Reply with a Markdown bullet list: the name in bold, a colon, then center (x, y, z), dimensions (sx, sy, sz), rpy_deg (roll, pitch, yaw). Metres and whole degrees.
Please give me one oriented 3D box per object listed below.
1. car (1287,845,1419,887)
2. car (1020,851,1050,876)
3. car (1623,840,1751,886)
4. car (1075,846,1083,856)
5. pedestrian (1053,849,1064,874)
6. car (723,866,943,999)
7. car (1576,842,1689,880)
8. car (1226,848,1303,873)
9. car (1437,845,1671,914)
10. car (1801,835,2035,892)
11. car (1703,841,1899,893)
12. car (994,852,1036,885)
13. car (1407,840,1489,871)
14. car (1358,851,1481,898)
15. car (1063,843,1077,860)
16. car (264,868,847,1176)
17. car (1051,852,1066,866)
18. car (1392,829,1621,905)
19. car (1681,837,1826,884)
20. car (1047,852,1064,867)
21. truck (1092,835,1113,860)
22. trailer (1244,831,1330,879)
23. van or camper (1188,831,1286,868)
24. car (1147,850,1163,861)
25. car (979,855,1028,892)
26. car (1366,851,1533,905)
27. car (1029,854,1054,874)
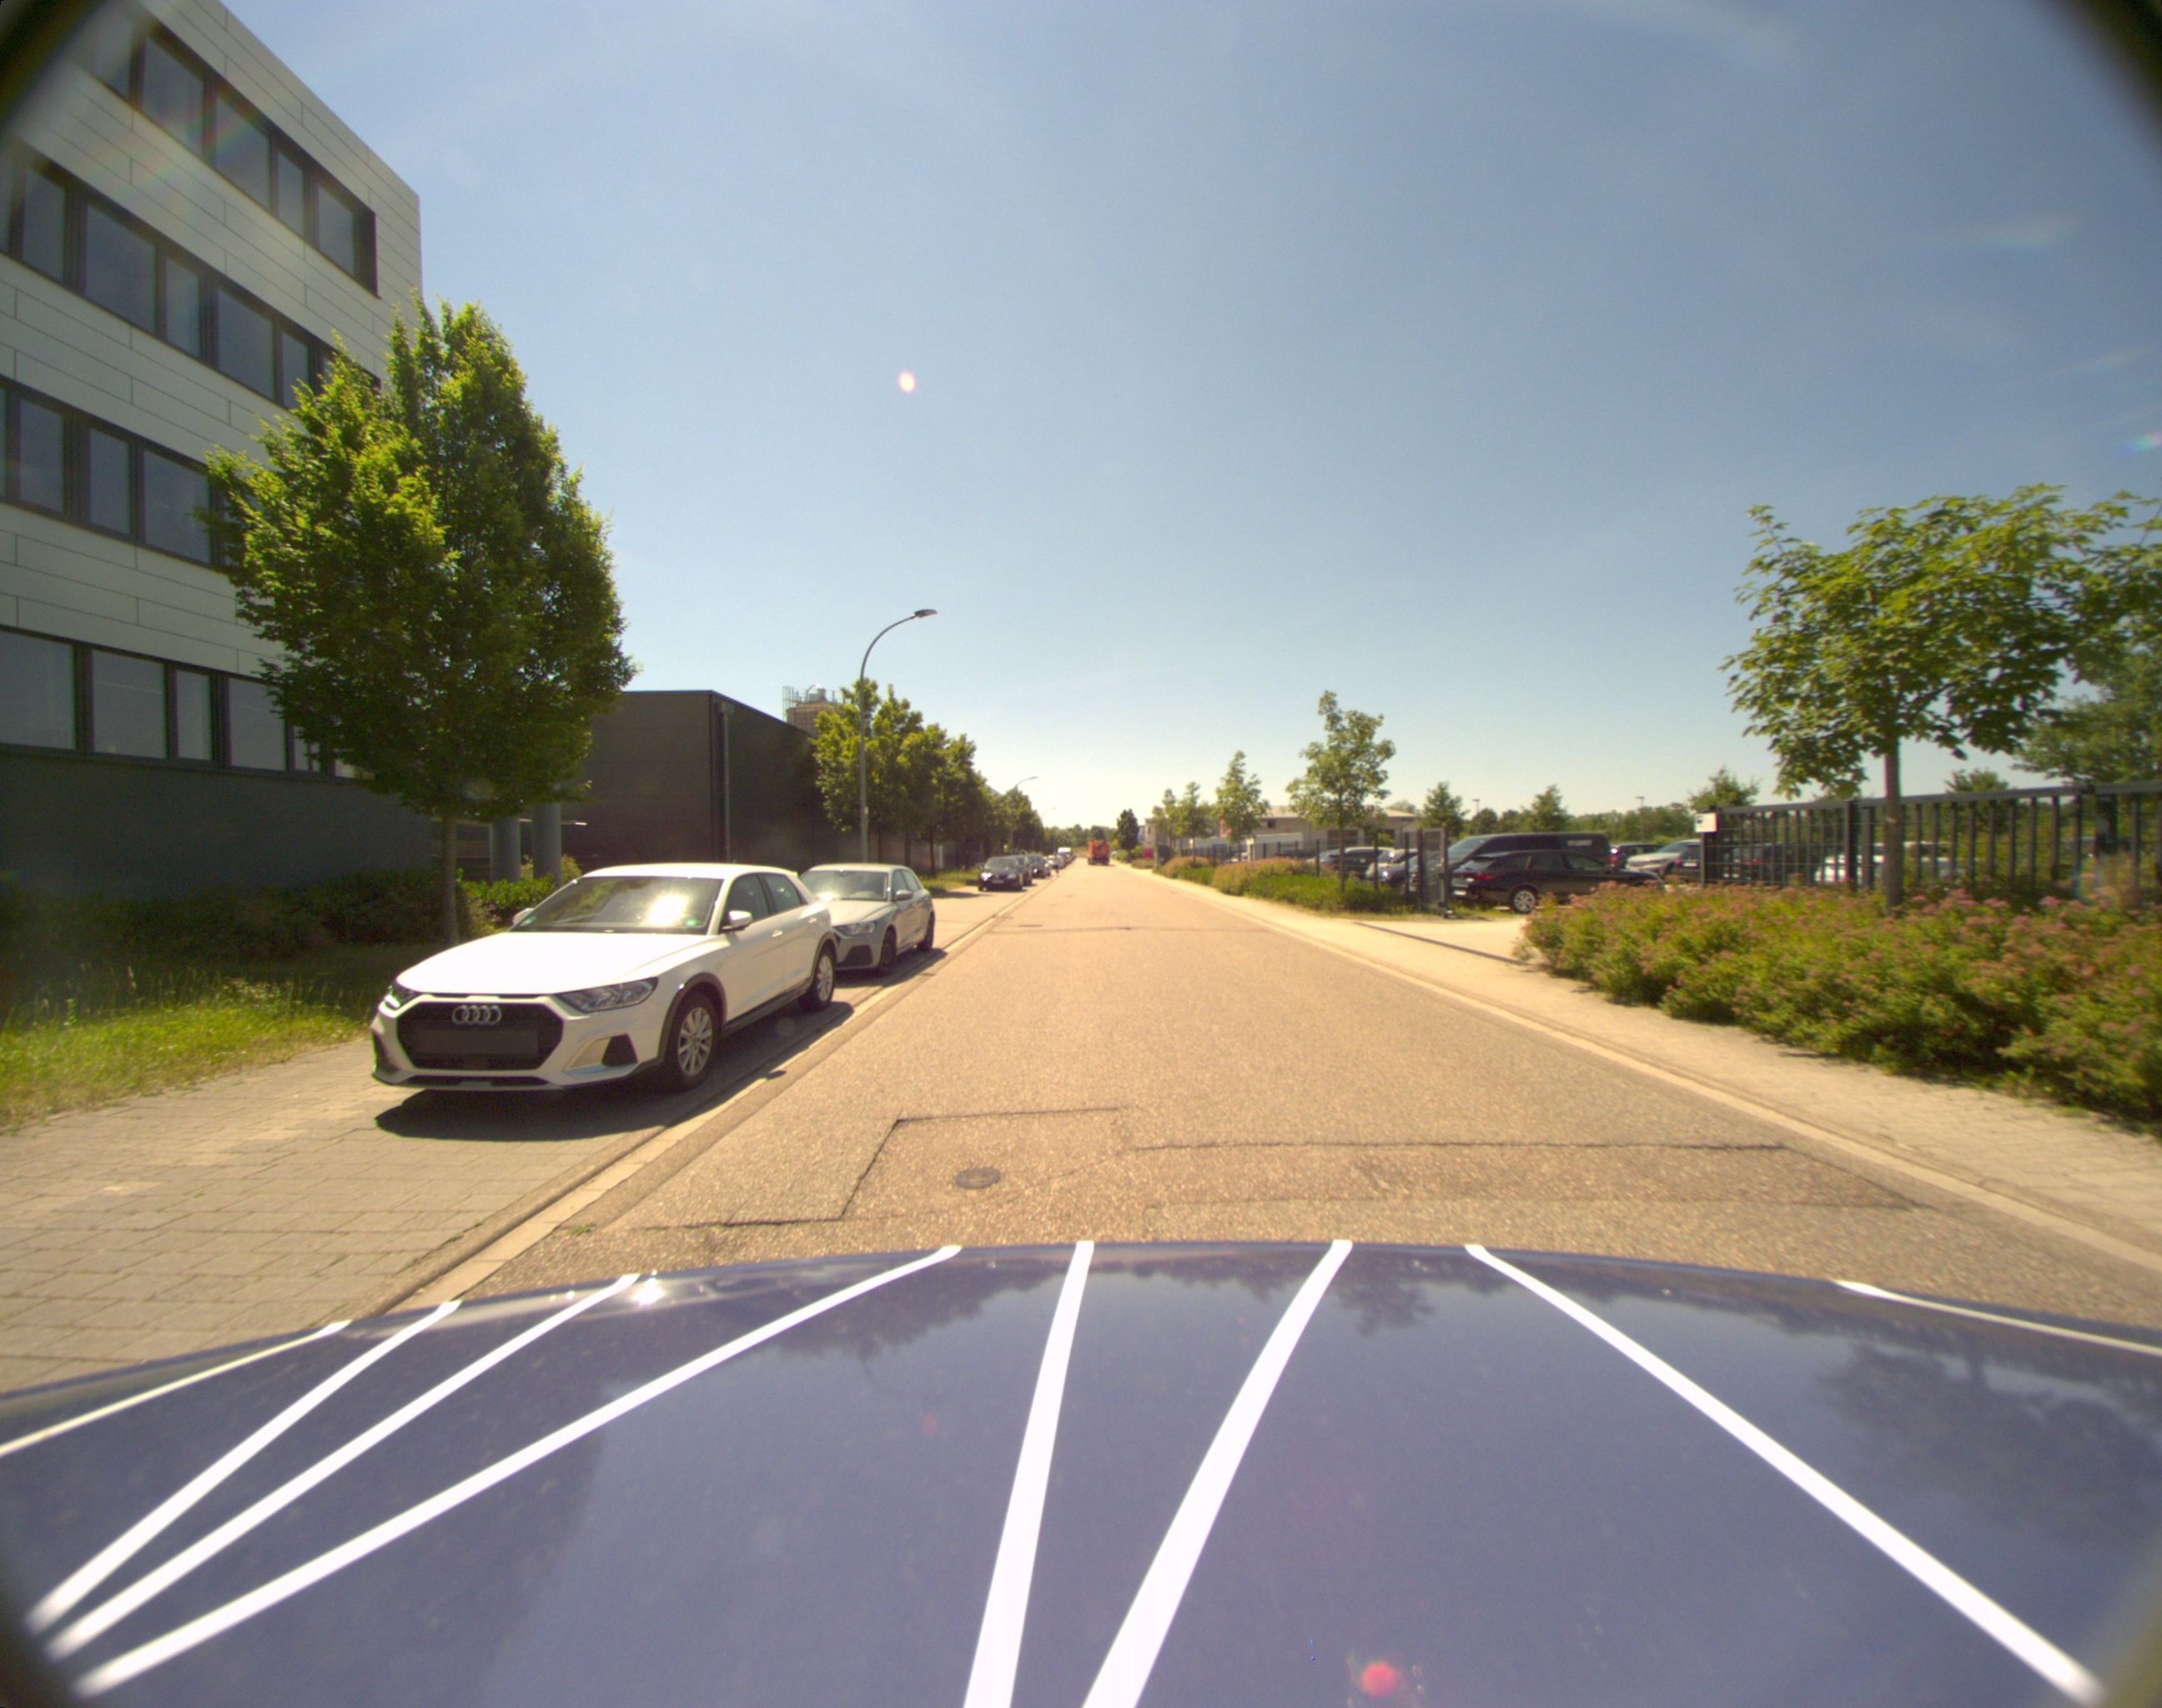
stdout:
- **car**: center (11.198, 0.467, 31.499), dimensions (4.744, 1.619, 2.000), rpy_deg (-1, 0, 1)
- **car**: center (-3.104, 0.612, 51.719), dimensions (1.742, 1.660, 4.367), rpy_deg (1, 0, 0)
- **car**: center (21.954, 0.317, 27.616), dimensions (3.480, 1.575, 1.477), rpy_deg (-1, 1, 0)
- **car**: center (-0.566, -0.847, 200.749), dimensions (2.060, 2.682, 4.834), rpy_deg (0, 0, 0)
- **pedestrian**: center (-1.683, 0.560, 56.636), dimensions (0.704, 1.799, 0.721), rpy_deg (-1, 1, 1)
- **car**: center (-3.228, 0.933, 10.749), dimensions (1.720, 1.415, 3.951), rpy_deg (2, 0, 1)
- **car**: center (22.194, 0.259, 30.626), dimensions (3.480, 1.406, 1.477), rpy_deg (-1, 1, 0)
- **car**: center (11.030, 0.386, 45.842), dimensions (4.218, 1.443, 1.777), rpy_deg (-1, 0, -3)
- **car**: center (11.084, 0.565, 18.049), dimensions (4.316, 1.438, 1.964), rpy_deg (-1, 1, 0)
- **car**: center (21.962, 0.242, 20.062), dimensions (4.117, 1.343, 1.880), rpy_deg (-1, 1, 0)
- **car**: center (21.524, 0.375, 22.831), dimensions (4.117, 1.406, 1.880), rpy_deg (-1, 1, 0)
- **car**: center (-3.419, 0.708, 40.030), dimensions (1.812, 1.608, 4.714), rpy_deg (1, 0, 0)
- **car**: center (22.271, 0.088, 46.255), dimensions (3.997, 1.761, 2.000), rpy_deg (-1, 0, -1)
- **car**: center (11.634, 0.684, 26.273), dimensions (3.379, 1.490, 1.904), rpy_deg (-1, 1, 0)
- **car**: center (-1.763, -0.415, 122.651), dimensions (2.060, 2.682, 4.834), rpy_deg (0, 0, 0)
- **car**: center (-3.375, 0.913, 5.986), dimensions (1.720, 1.472, 4.031), rpy_deg (2, 0, 1)
- **car**: center (-2.630, 0.570, 88.804), dimensions (1.736, 1.501, 3.844), rpy_deg (0, 0, -1)
- **car**: center (11.346, 0.322, 20.526), dimensions (5.072, 1.840, 1.964), rpy_deg (-1, 1, 0)
- **car**: center (22.048, 0.205, 24.987), dimensions (3.480, 1.406, 1.477), rpy_deg (-1, 1, 0)
- **car**: center (-2.810, 0.594, 83.817), dimensions (1.736, 1.501, 3.665), rpy_deg (1, 0, -1)
- **truck**: center (2.977, -0.930, 109.807), dimensions (2.606, 3.524, 10.499), rpy_deg (0, 0, 0)
- **trailer**: center (10.863, 0.043, 40.212), dimensions (3.998, 2.346, 1.726), rpy_deg (-2, 1, -2)
- **van or camper**: center (11.479, -0.343, 56.407), dimensions (6.793, 2.668, 2.575), rpy_deg (-1, 1, 1)
- **car**: center (10.649, 0.197, 109.767), dimensions (1.998, 1.674, 4.000), rpy_deg (0, 0, 1)
- **car**: center (-3.361, 0.817, 33.616), dimensions (1.696, 1.468, 4.268), rpy_deg (1, 0, 0)
- **car**: center (11.262, 0.707, 23.445), dimensions (4.204, 1.490, 1.904), rpy_deg (-1, 1, 0)
- **car**: center (-2.990, 0.753, 58.086), dimensions (1.711, 1.449, 4.188), rpy_deg (1, 0, 0)
